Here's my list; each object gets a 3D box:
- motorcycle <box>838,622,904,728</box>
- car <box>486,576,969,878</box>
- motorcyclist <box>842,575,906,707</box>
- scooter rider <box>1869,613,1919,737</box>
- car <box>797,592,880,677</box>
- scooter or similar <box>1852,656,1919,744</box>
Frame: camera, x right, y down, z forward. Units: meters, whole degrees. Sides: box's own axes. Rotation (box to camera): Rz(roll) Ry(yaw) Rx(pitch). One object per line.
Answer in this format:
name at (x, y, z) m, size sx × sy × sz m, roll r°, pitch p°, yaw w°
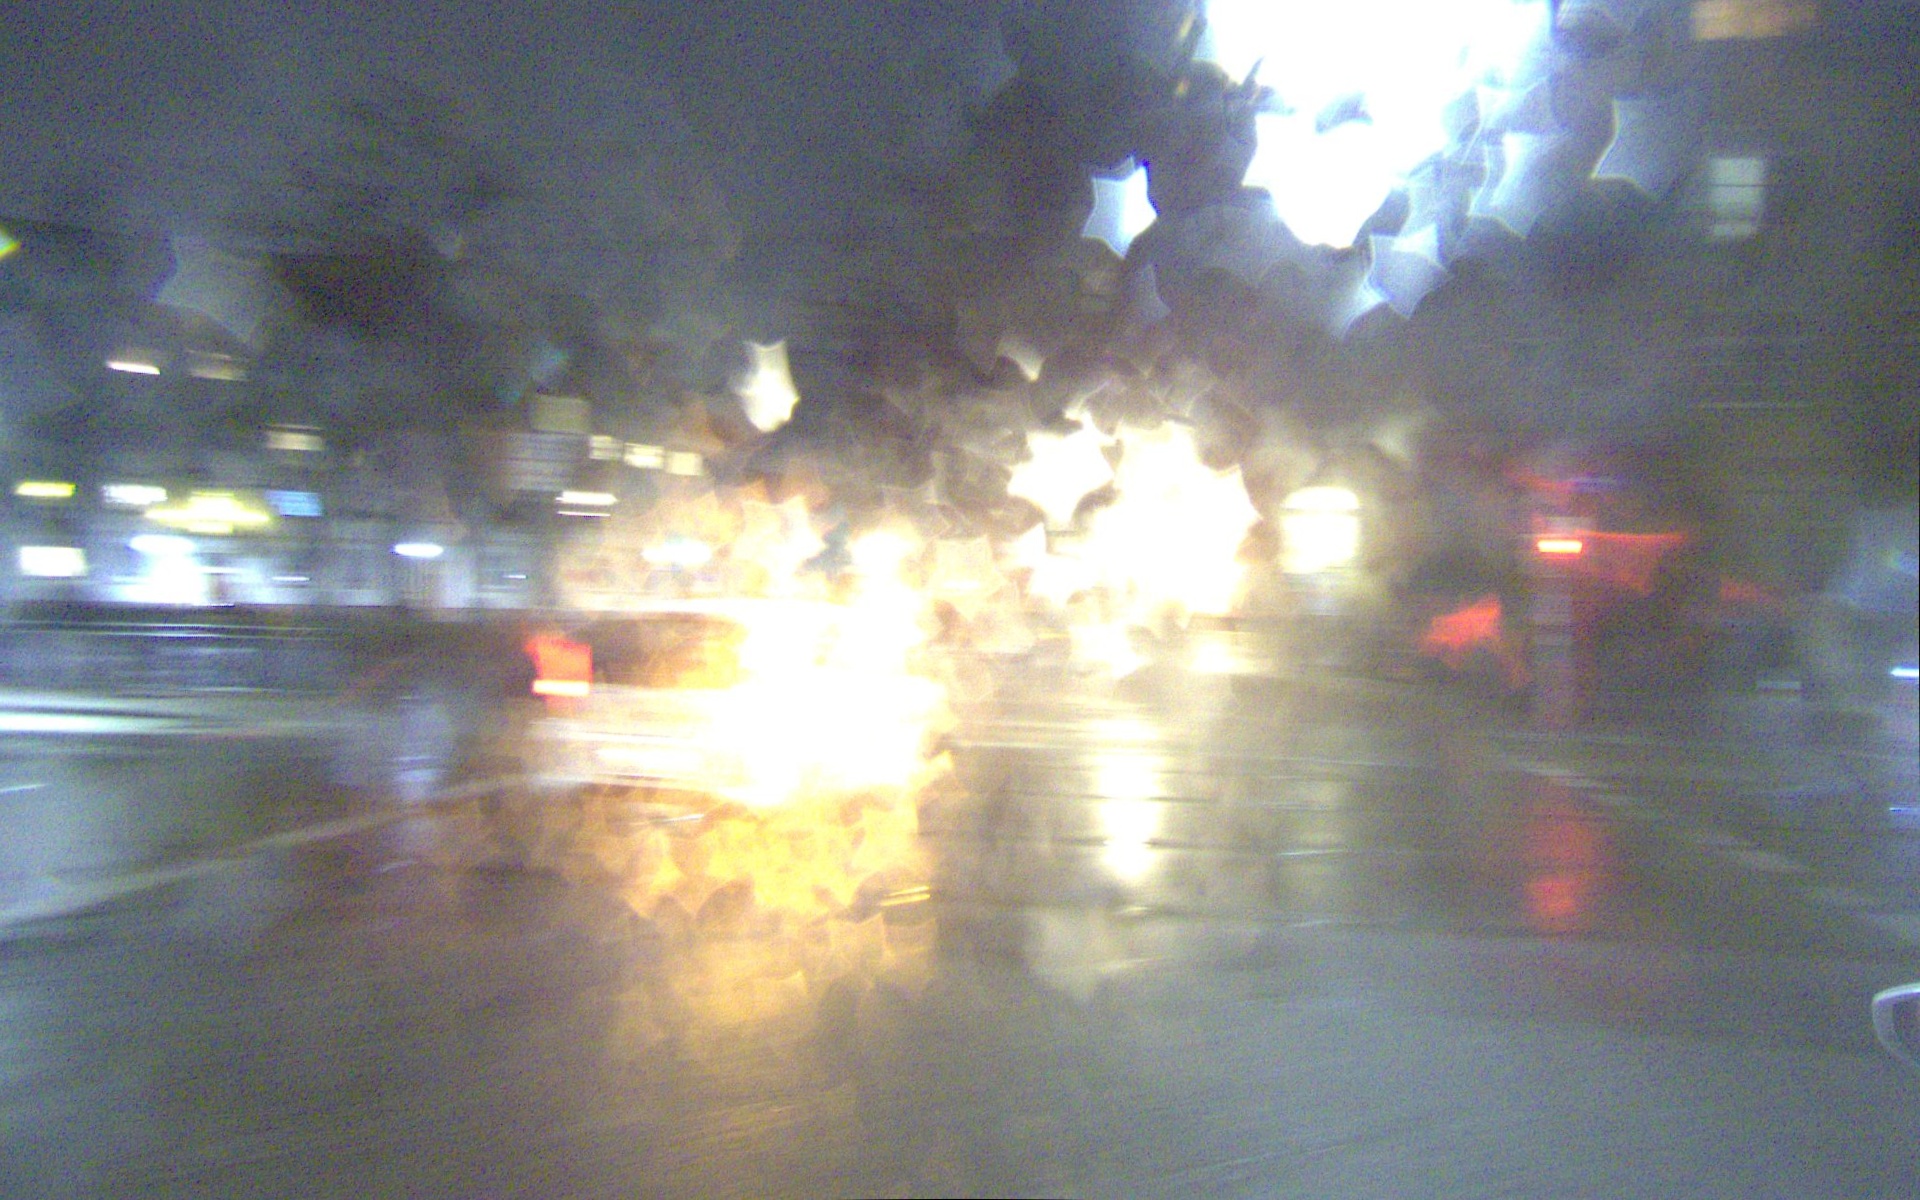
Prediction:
motorcycle at (-1.191, 0.967, 13.714) m, size 0.777 × 1.229 × 2.248 m, roll 2°, pitch 1°, yaw -4°
car at (-1.328, 0.682, 7.272) m, size 1.886 × 1.536 × 3.599 m, roll 2°, pitch 0°, yaw 15°
motorcyclist at (-1.163, 0.536, 13.700) m, size 0.777 × 1.717 × 0.819 m, roll 2°, pitch 1°, yaw -4°
scooter rider at (12.716, 0.994, 13.367) m, size 0.639 × 1.594 × 0.642 m, roll 3°, pitch 2°, yaw 19°
car at (-2.838, 0.735, 23.905) m, size 1.721 × 1.763 × 3.795 m, roll 2°, pitch 1°, yaw -6°
scooter or similar at (12.766, 1.336, 13.221) m, size 1.342 × 1.066 × 0.642 m, roll 3°, pitch 2°, yaw 19°
